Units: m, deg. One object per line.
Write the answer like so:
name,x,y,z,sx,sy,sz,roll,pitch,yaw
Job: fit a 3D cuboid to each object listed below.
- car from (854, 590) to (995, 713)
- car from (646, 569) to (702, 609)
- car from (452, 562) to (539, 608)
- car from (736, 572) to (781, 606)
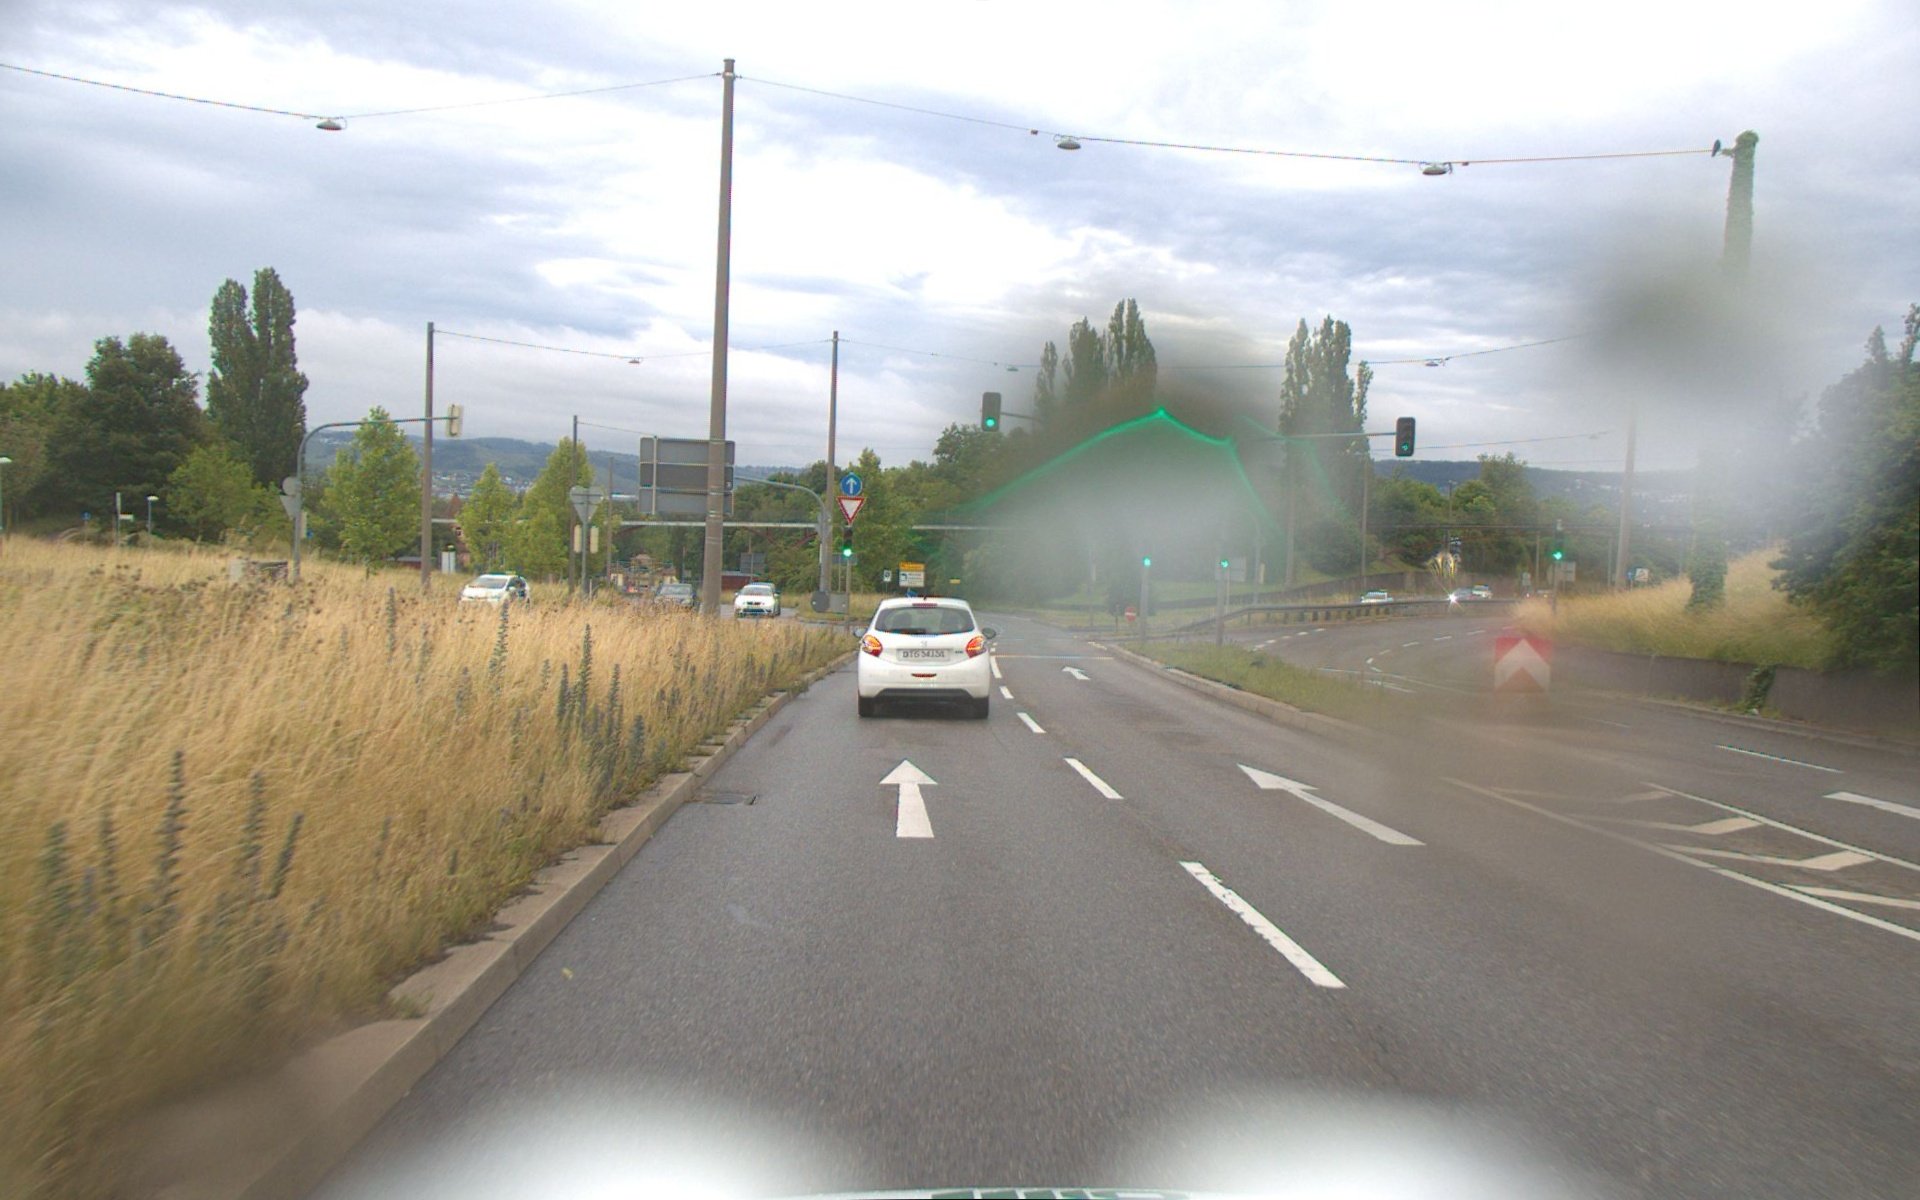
car,-0.392,0.633,21.749,1.673,1.465,3.691,0,-1,1
car,-12.203,-0.451,70.799,1.857,1.564,3.997,2,-1,-3
car,-18.084,-0.550,64.611,1.846,1.639,4.677,2,-1,2
car,-8.913,-0.478,73.369,1.703,1.397,3.997,2,-1,-4
